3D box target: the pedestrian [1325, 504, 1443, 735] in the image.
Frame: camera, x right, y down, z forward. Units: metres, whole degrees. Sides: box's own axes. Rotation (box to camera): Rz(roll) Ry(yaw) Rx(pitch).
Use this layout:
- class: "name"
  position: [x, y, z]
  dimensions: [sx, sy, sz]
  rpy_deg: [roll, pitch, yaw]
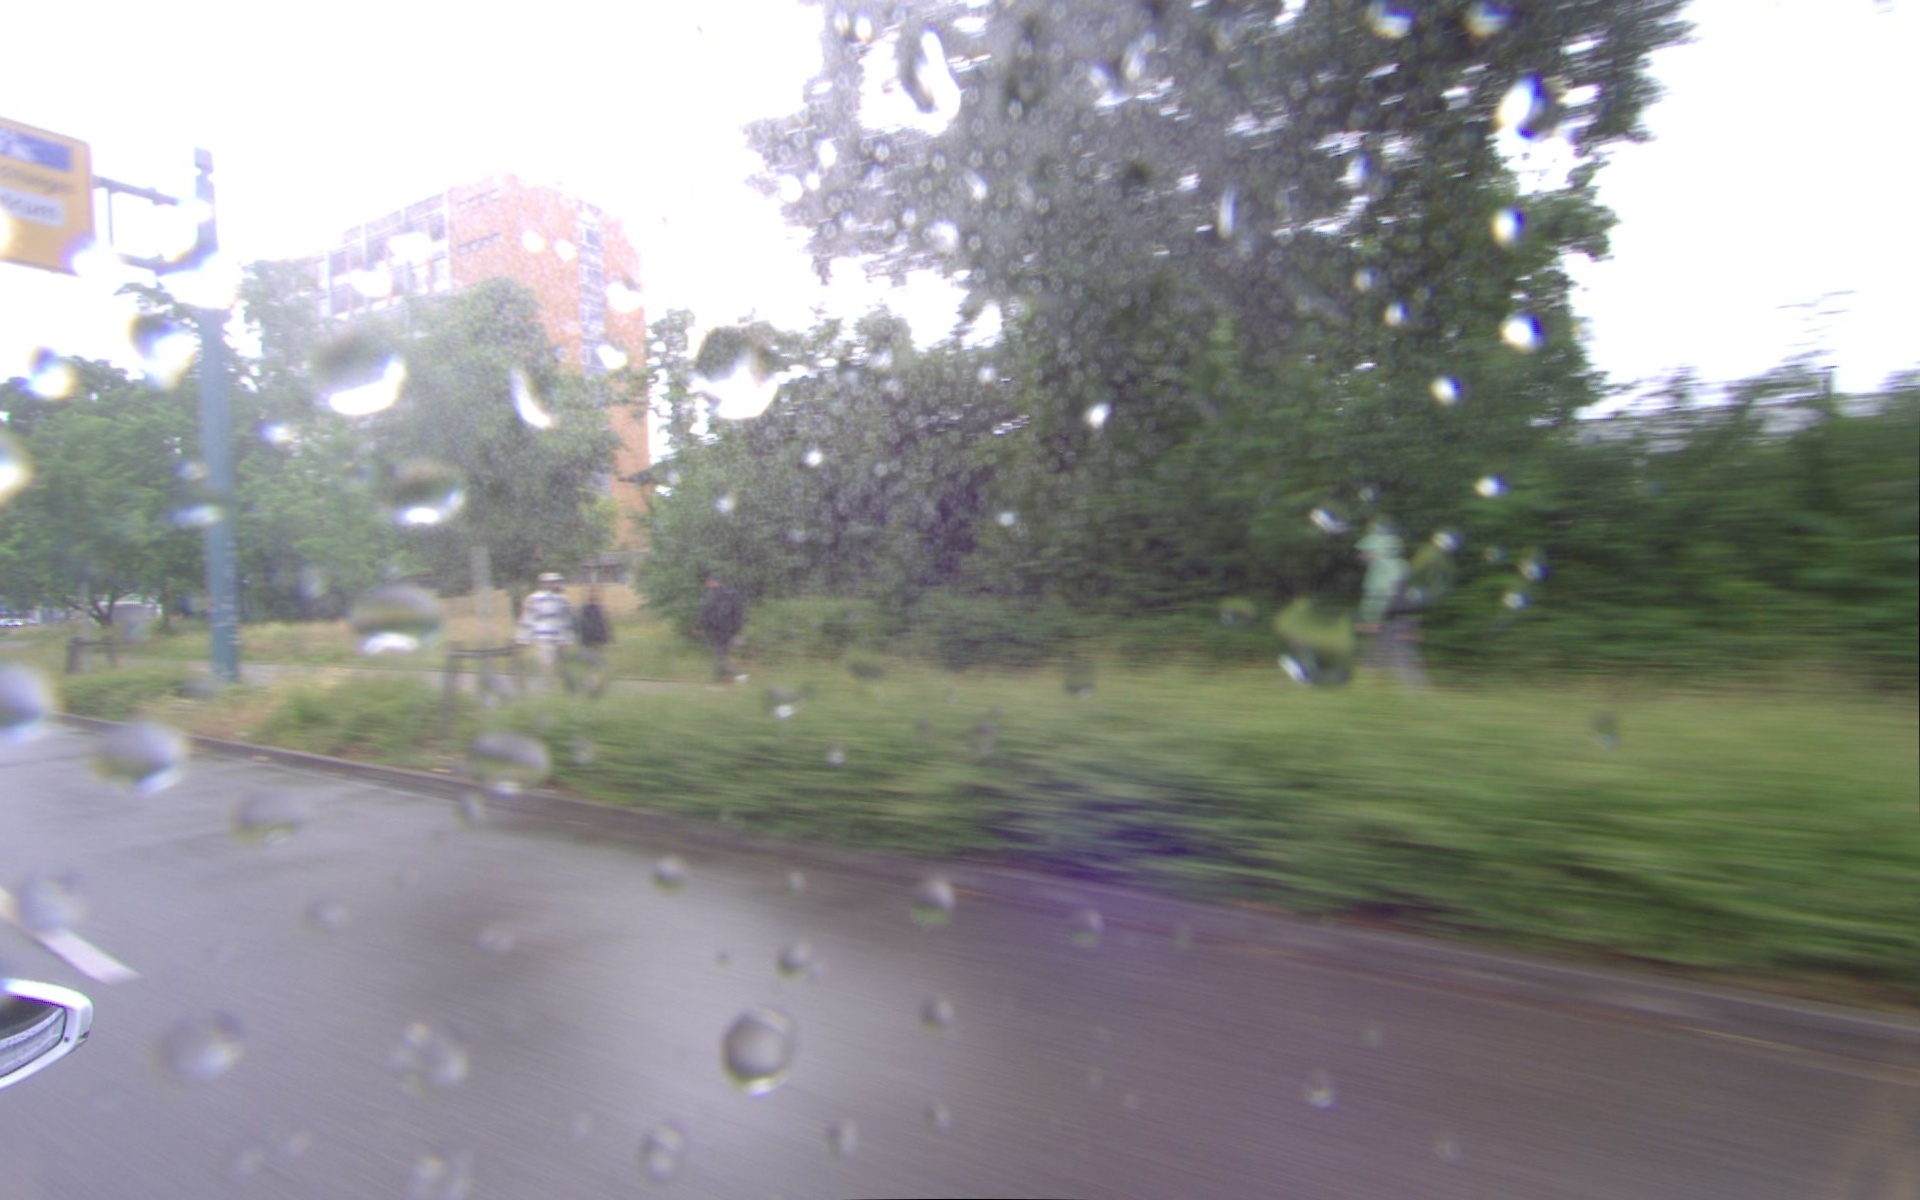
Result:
- class: "pedestrian"
  position: [3.991, 0.167, 9.412]
  dimensions: [0.819, 2.041, 0.786]
  rpy_deg: [0, 2, 41]

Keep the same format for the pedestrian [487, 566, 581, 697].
- class: "pedestrian"
  position: [-5.973, 0.418, 14.041]
  dimensions: [0.818, 1.744, 0.929]
  rpy_deg: [3, 2, 39]

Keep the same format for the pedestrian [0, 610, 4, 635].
- class: "pedestrian"
  position: [-61.382, 1.421, 63.736]
  dimensions: [0.697, 1.609, 0.928]
  rpy_deg: [-2, 1, -41]

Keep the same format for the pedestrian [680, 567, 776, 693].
- class: "pedestrian"
  position: [-3.409, 0.419, 14.728]
  dimensions: [1.033, 1.771, 0.928]
  rpy_deg: [0, 2, 41]

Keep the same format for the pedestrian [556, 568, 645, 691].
- class: "pedestrian"
  position: [-5.287, 0.413, 14.726]
  dimensions: [0.818, 1.727, 0.929]
  rpy_deg: [3, 2, 39]

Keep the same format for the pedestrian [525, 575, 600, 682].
- class: "pedestrian"
  position: [-7.040, 0.484, 17.746]
  dimensions: [0.819, 1.821, 0.928]
  rpy_deg: [0, 2, 41]
